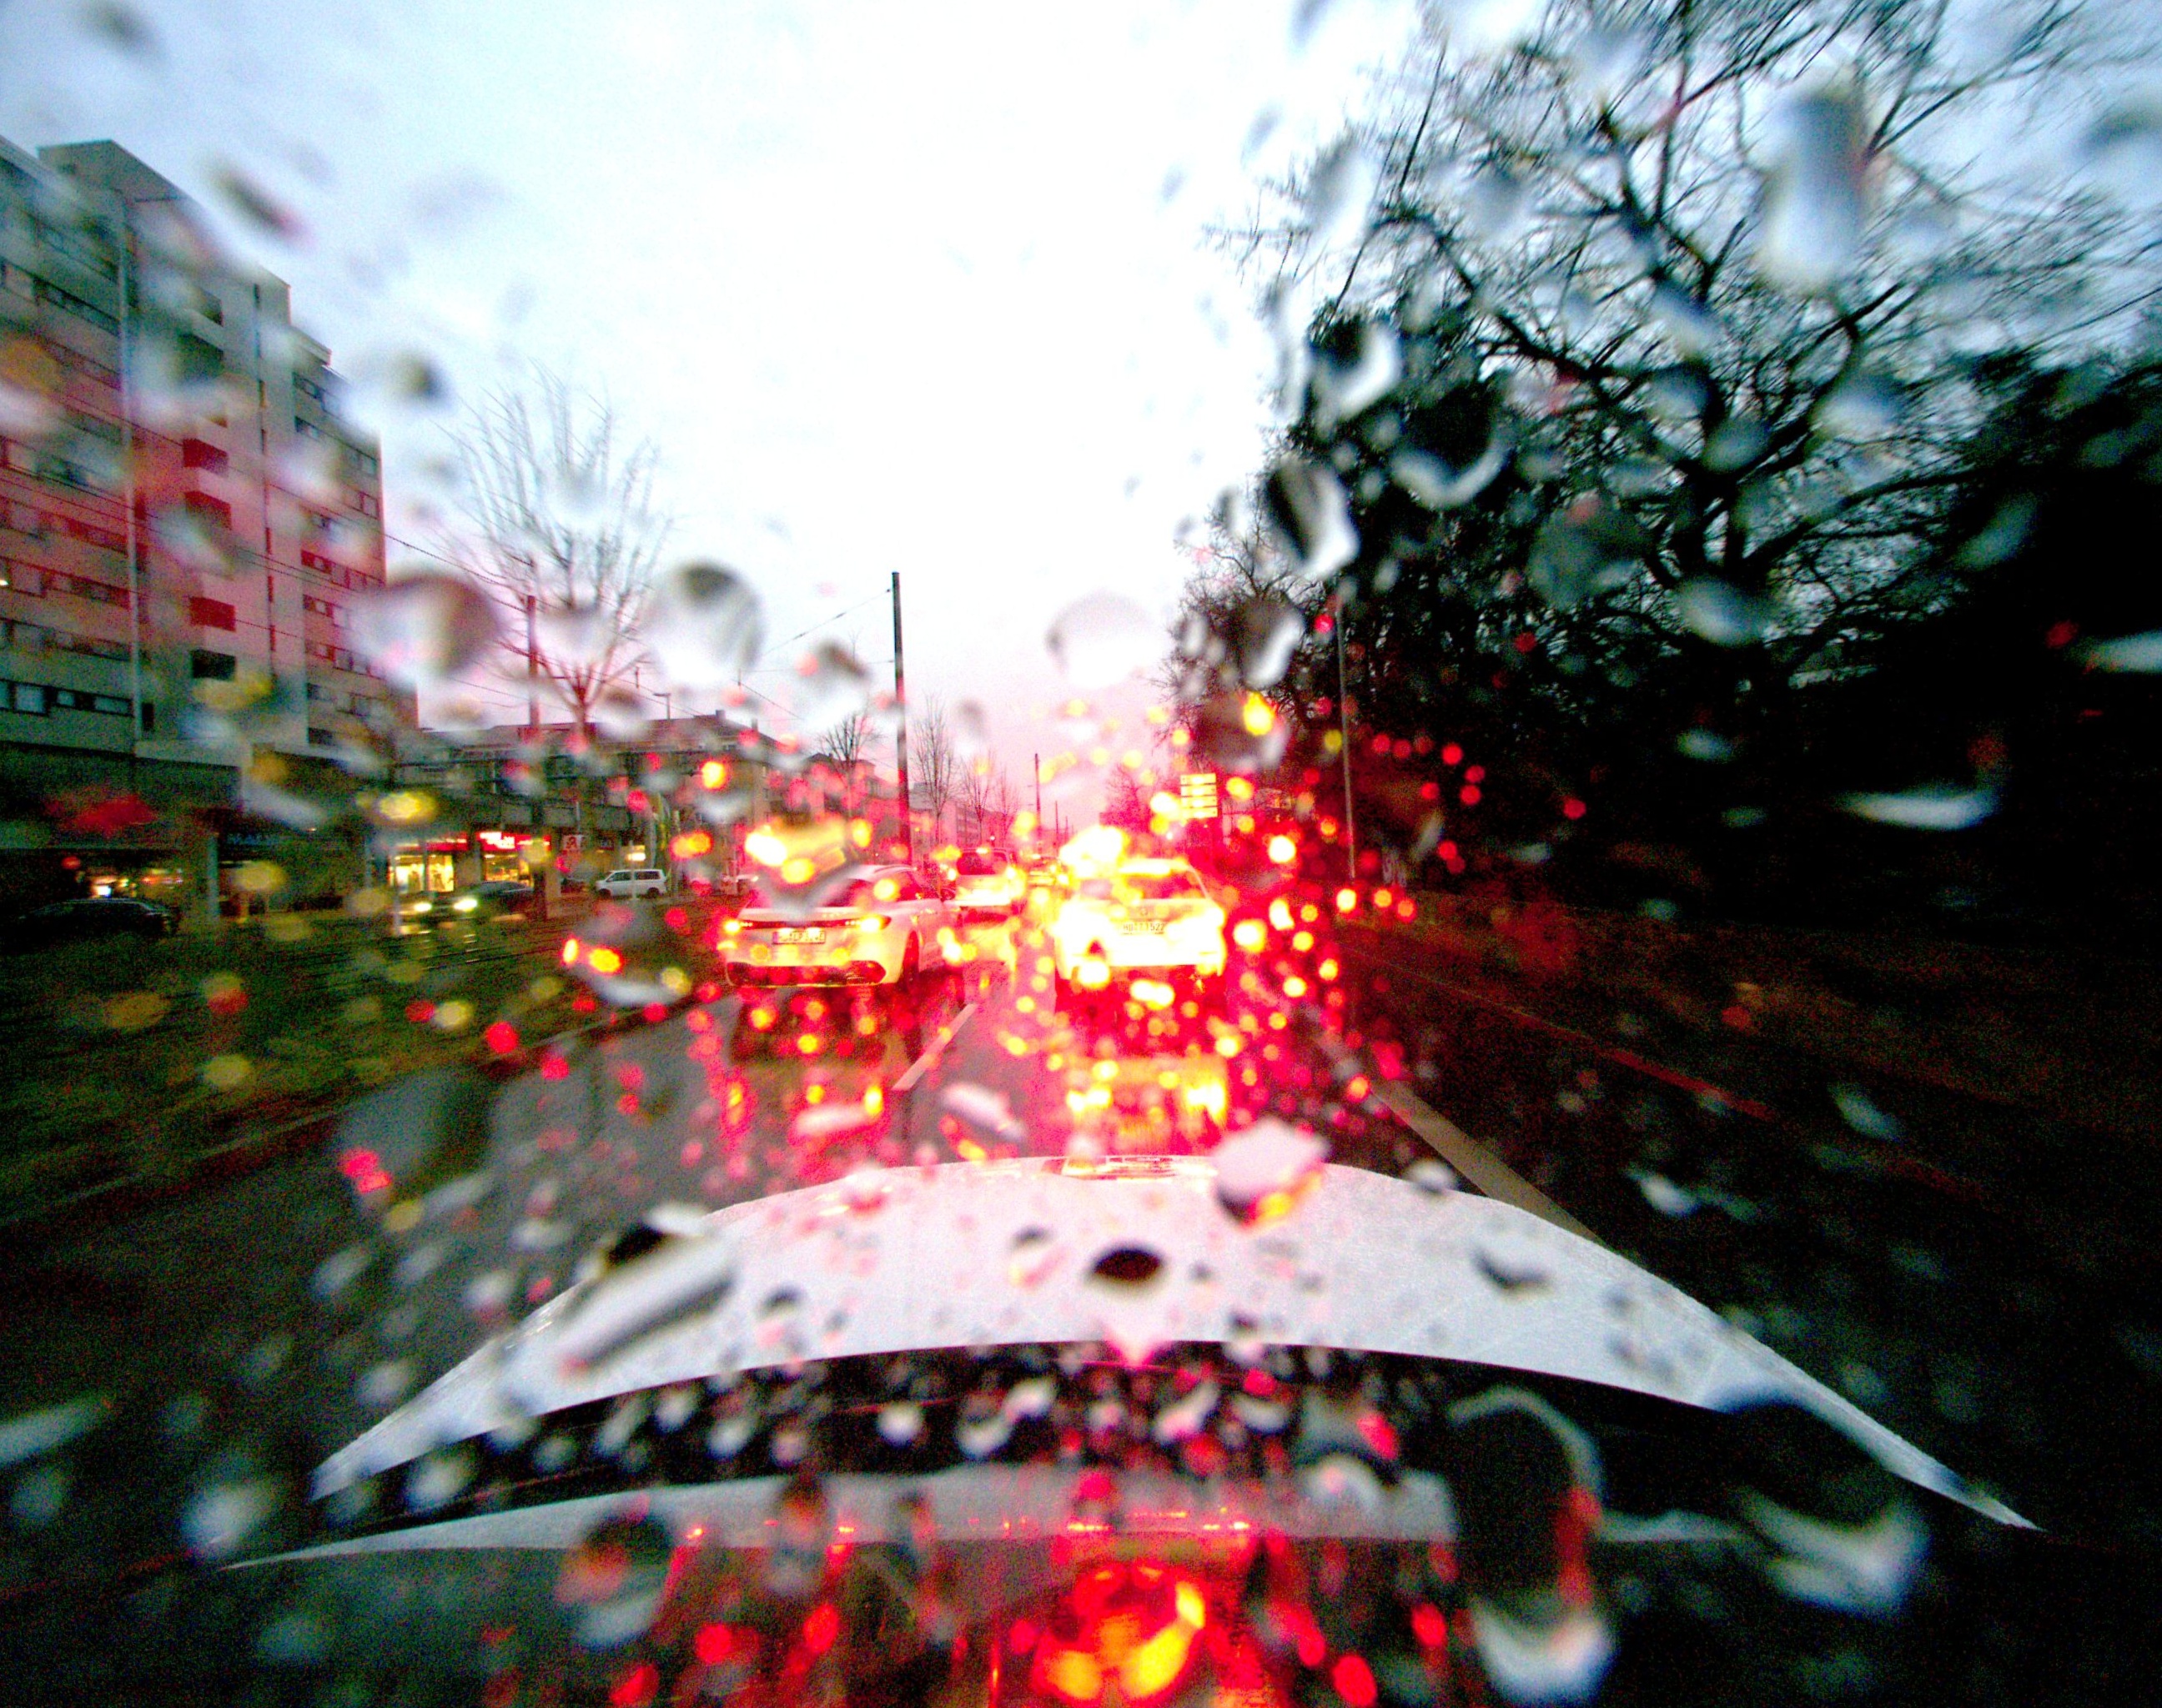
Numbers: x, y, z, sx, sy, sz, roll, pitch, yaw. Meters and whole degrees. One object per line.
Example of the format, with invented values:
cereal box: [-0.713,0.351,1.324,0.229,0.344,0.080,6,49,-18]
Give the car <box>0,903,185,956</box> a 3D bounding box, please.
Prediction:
car: [-31.497,2.343,25.665,4.015,1.387,1.916,1,-1,-34]

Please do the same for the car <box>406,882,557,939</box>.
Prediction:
car: [-22.377,2.056,30.679,1.889,1.719,4.918,-2,0,1]

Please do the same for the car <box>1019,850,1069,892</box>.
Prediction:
car: [-1.509,0.681,34.729,1.800,1.646,4.002,-1,0,2]

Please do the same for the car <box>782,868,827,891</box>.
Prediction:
car: [-22.028,2.007,65.036,1.889,1.634,4.581,-2,0,1]

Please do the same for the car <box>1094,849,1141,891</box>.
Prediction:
car: [1.516,0.637,34.278,1.800,1.646,4.002,-1,0,2]

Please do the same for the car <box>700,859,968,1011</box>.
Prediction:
car: [-2.678,0.787,10.082,1.840,1.405,4.614,-1,0,1]

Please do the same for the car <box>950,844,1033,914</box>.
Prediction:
car: [-2.381,0.647,22.715,1.788,1.736,4.536,-1,0,0]

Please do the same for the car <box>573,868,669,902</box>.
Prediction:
car: [-30.623,2.027,54.299,5.193,1.912,1.975,-3,0,-44]

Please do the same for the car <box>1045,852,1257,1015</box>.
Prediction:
car: [0.731,0.761,9.862,1.992,1.508,4.165,-1,0,2]

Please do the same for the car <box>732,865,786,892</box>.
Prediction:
car: [-24.928,1.864,63.297,1.986,1.912,5.165,-3,0,1]

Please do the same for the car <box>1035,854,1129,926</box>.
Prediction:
car: [0.079,0.750,19.076,1.928,1.457,4.165,-1,0,2]
